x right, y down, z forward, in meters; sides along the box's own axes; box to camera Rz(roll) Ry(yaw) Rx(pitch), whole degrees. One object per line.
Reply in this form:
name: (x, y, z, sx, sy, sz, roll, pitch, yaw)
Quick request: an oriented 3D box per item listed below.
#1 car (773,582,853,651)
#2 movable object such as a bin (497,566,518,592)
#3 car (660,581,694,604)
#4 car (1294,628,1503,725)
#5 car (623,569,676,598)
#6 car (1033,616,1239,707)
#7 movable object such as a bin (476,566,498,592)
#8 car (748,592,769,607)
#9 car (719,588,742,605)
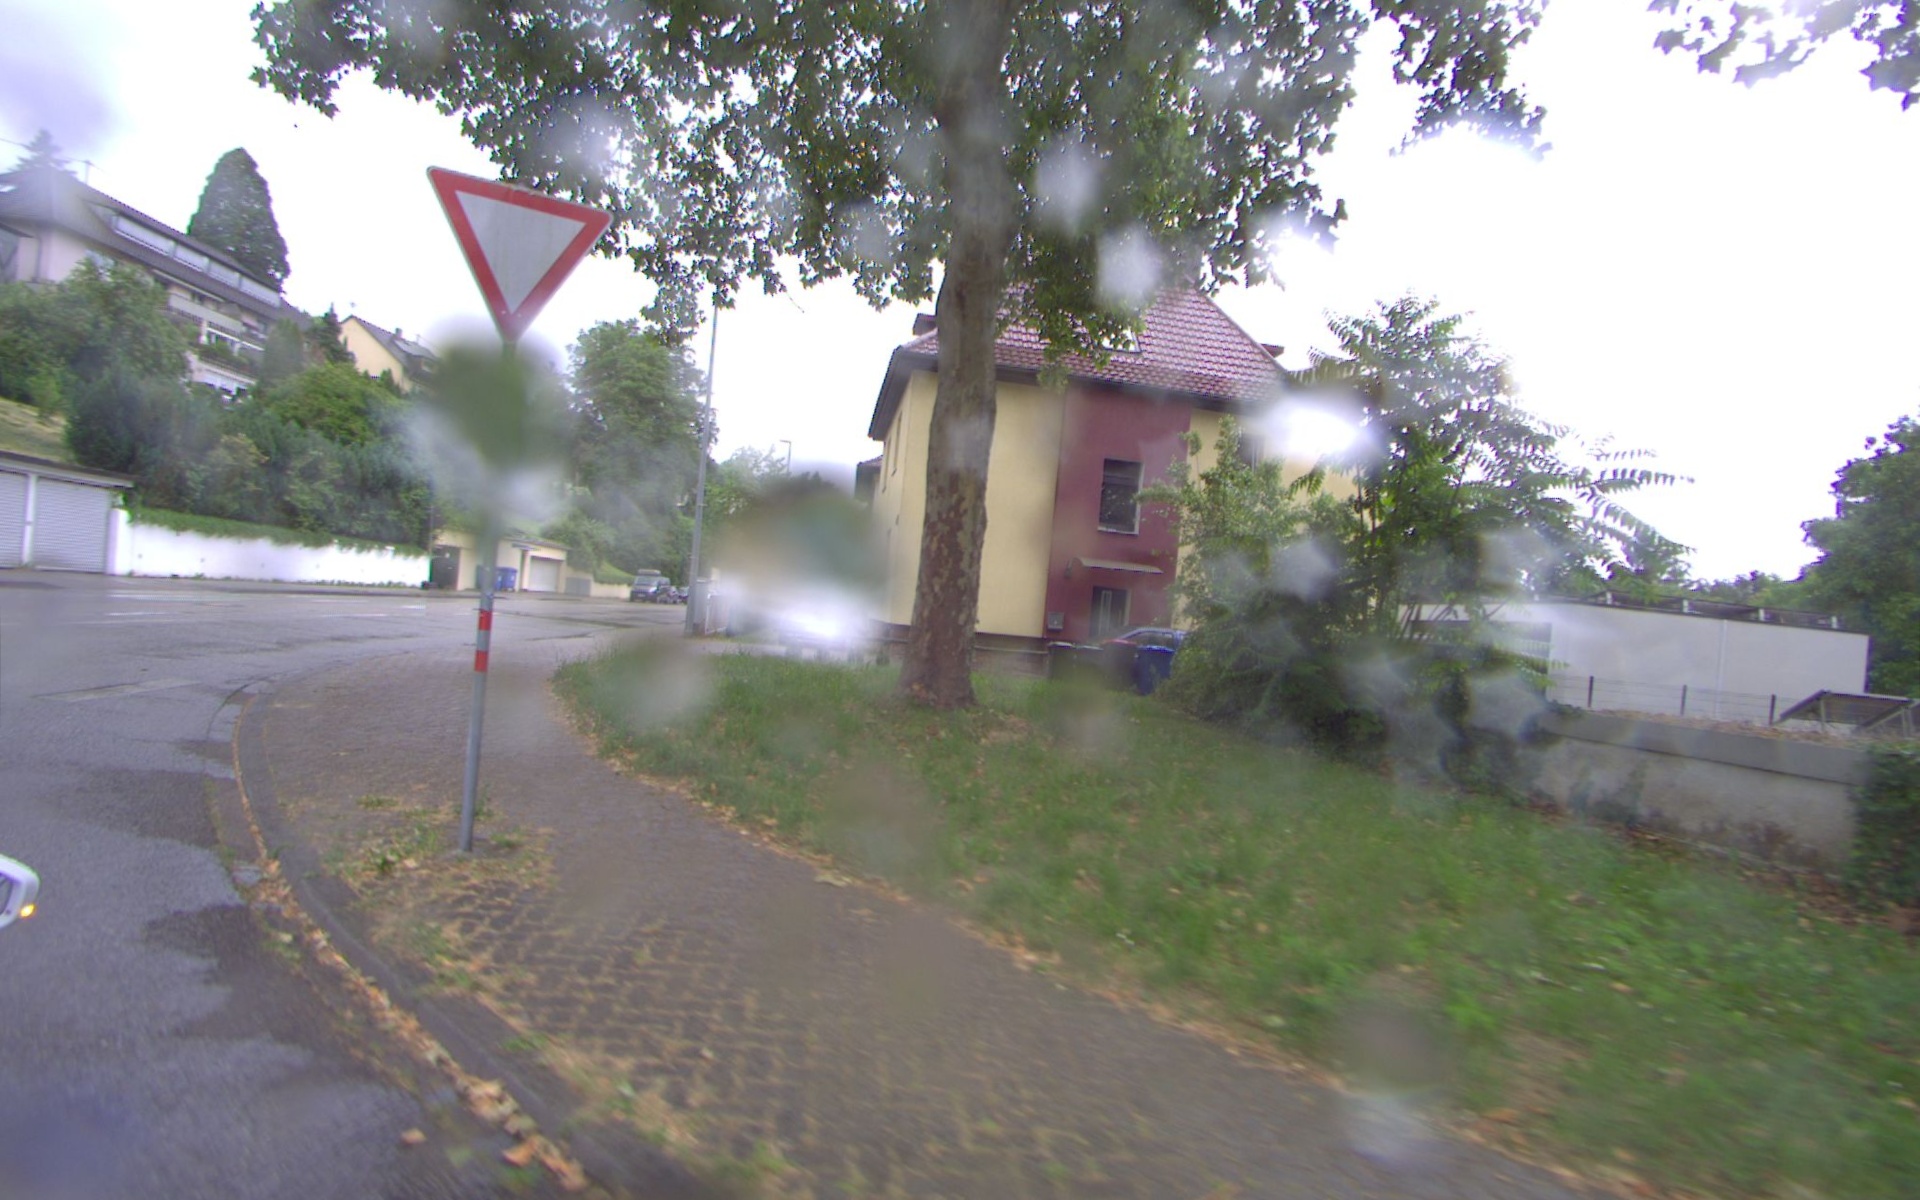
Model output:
car: (-3.611, 0.367, 25.210, 1.621, 1.466, 3.545, 5, 0, -5)
movable object such as a bin: (-25.392, -1.174, 56.506, 0.700, 1.353, 0.833, 5, 1, 0)
car: (-23.032, -0.606, 82.037, 1.791, 1.703, 3.996, 5, 0, -5)
car: (8.560, 1.482, 19.754, 3.370, 1.490, 1.488, 5, 1, -9)
car: (-22.148, -1.158, 71.881, 2.261, 1.775, 5.176, 5, 0, -3)
car: (3.253, 1.127, 18.861, 3.395, 1.315, 1.542, 5, 1, -9)
movable object such as a bin: (-25.516, -1.131, 54.248, 0.700, 1.353, 0.833, 5, 1, 0)
car: (-24.274, -0.094, 121.385, 1.687, 1.571, 3.815, 5, 0, 0)
car: (-23.607, -0.382, 103.433, 1.706, 1.571, 3.812, 5, 0, -5)
